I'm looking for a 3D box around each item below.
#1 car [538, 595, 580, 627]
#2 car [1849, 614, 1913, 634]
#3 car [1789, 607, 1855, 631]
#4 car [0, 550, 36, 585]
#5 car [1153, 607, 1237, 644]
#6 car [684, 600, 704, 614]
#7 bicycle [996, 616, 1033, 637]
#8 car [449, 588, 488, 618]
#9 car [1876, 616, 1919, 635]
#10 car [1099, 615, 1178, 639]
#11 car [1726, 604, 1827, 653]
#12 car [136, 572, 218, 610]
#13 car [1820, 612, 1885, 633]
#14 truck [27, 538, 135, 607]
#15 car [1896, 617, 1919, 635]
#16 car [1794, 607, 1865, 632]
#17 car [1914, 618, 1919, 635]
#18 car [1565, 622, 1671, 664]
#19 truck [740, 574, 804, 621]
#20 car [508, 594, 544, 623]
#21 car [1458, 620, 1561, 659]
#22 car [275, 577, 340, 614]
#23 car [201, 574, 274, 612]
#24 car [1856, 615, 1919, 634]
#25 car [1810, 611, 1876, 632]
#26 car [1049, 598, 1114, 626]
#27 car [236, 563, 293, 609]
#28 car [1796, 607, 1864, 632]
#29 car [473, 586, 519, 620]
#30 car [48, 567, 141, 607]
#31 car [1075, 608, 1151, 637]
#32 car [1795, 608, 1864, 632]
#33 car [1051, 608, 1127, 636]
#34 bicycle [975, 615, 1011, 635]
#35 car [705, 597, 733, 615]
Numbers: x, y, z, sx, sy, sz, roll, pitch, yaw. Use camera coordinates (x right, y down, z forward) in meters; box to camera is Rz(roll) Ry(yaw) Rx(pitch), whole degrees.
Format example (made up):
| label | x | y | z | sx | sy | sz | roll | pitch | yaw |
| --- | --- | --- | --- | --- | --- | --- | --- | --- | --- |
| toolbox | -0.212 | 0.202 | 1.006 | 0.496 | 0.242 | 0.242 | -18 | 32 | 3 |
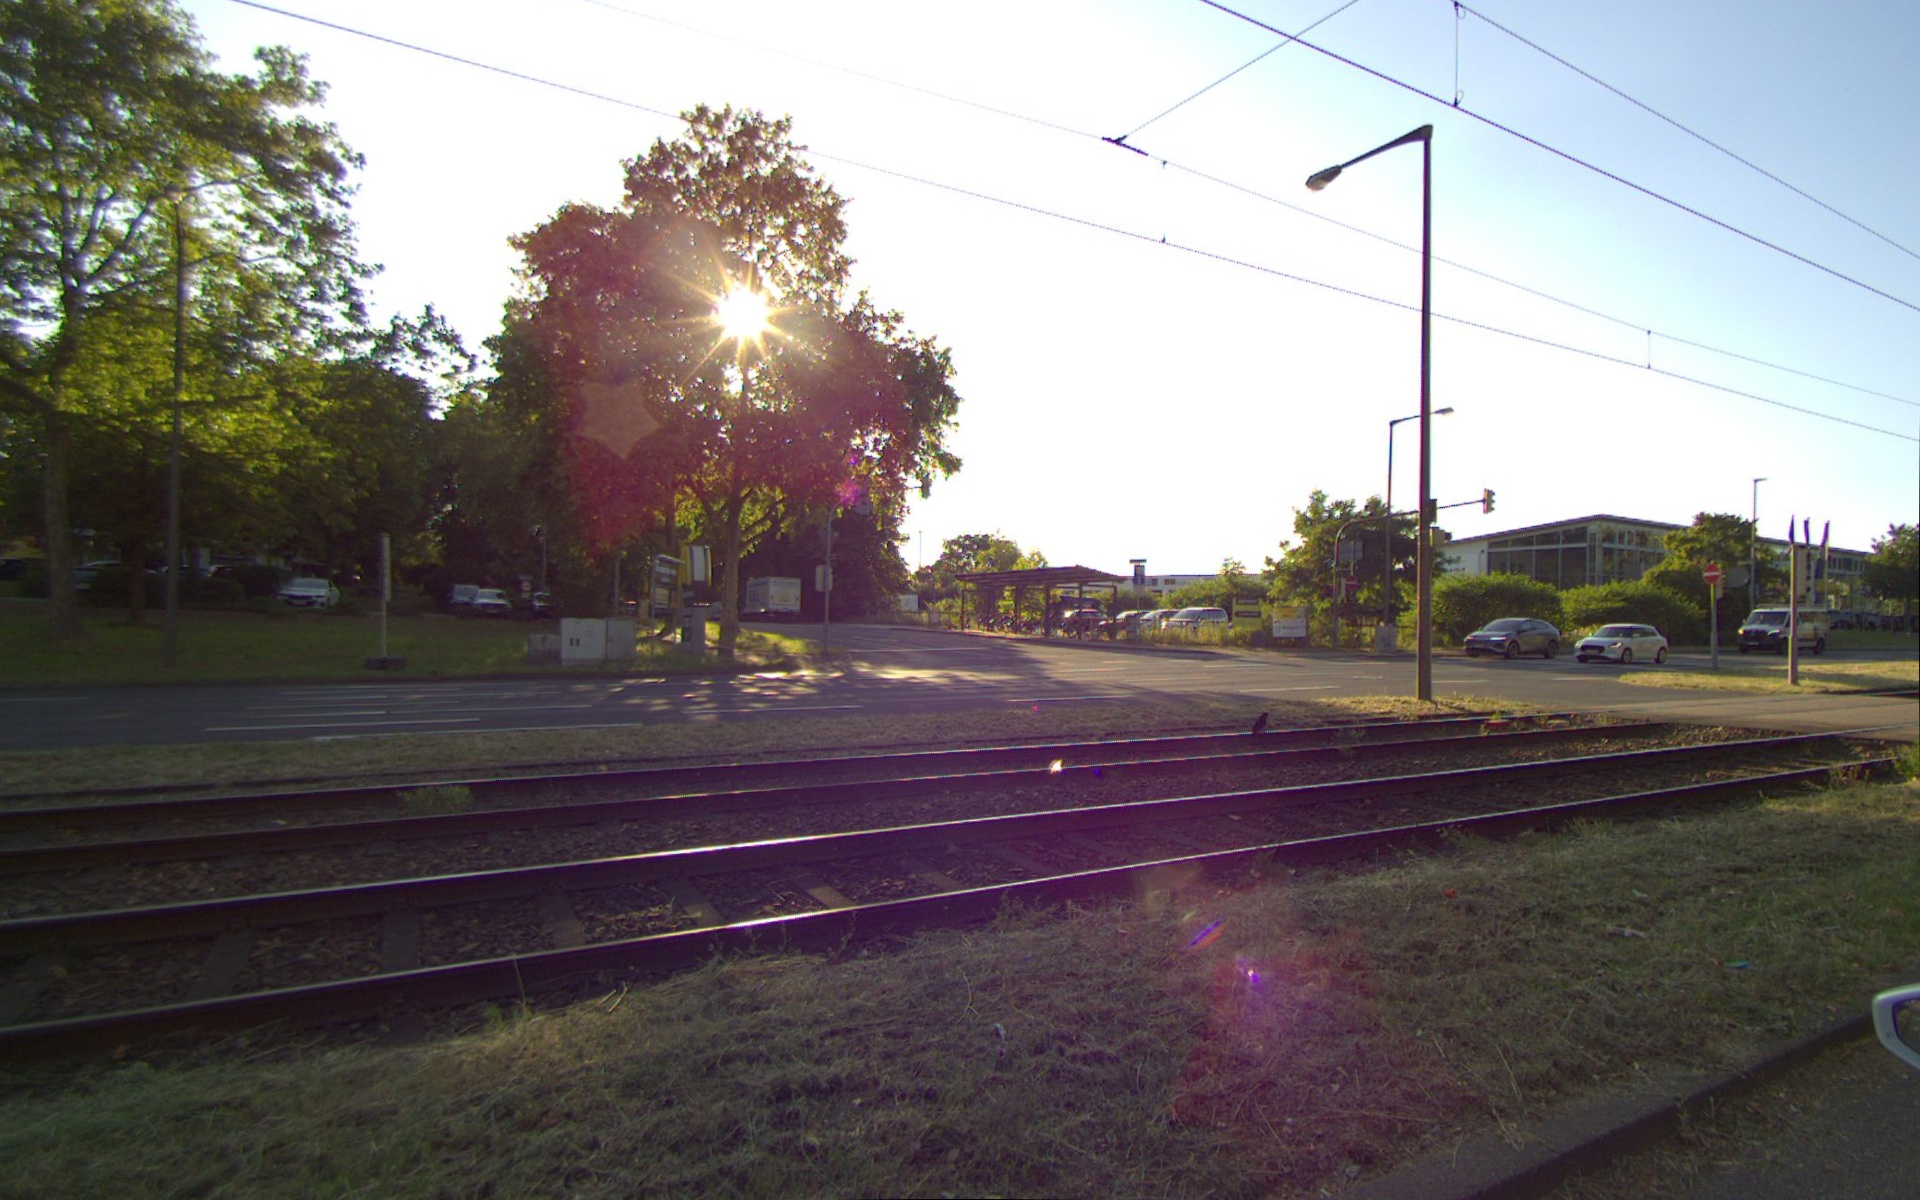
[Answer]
| label | x | y | z | sx | sy | sz | roll | pitch | yaw |
| --- | --- | --- | --- | --- | --- | --- | --- | --- | --- |
| car | -20.444 | 0.532 | 51.136 | 1.604 | 1.477 | 3.878 | 2 | 0 | -27 |
| car | 79.611 | 2.066 | 86.886 | 3.940 | 1.577 | 1.735 | 1 | 0 | 40 |
| car | 69.322 | 1.510 | 80.822 | 3.940 | 1.840 | 1.735 | 1 | 0 | 40 |
| car | -53.864 | -1.868 | 56.381 | 2.274 | 1.875 | 5.220 | 2 | 0 | -36 |
| car | 12.358 | 1.330 | 52.732 | 4.123 | 1.846 | 1.853 | 1 | 0 | -30 |
| car | -33.236 | 0.862 | 125.365 | 1.887 | 1.602 | 4.036 | 2 | 0 | -21 |
| bicycle | 3.065 | 1.480 | 56.410 | 2.004 | 1.119 | 0.777 | 2 | 0 | -30 |
| car | -28.577 | 0.137 | 58.493 | 1.836 | 1.637 | 4.036 | 2 | 0 | -23 |
| car | 84.909 | 2.276 | 89.996 | 1.726 | 1.576 | 3.960 | 1 | 0 | -35 |
| car | 9.935 | 1.491 | 55.864 | 4.123 | 1.284 | 1.853 | 1 | 0 | -30 |
| car | 43.937 | 1.522 | 54.042 | 5.778 | 2.494 | 2.087 | 1 | 0 | -28 |
| car | -33.961 | -0.383 | 43.682 | 1.916 | 1.530 | 4.071 | 2 | 0 | -26 |
| car | 74.205 | 1.844 | 83.605 | 3.940 | 1.577 | 1.735 | 1 | 0 | 40 |
| truck | -44.518 | -1.329 | 51.064 | 2.468 | 3.209 | 6.187 | 2 | 0 | -26 |
| car | 88.379 | 2.386 | 91.736 | 1.725 | 1.642 | 3.962 | 1 | 0 | -34 |
| car | 65.176 | 1.444 | 75.365 | 3.940 | 1.727 | 1.735 | 1 | 0 | 40 |
| car | 91.295 | 2.503 | 93.015 | 1.725 | 1.642 | 3.962 | 1 | 0 | -34 |
| car | 25.524 | 1.629 | 38.933 | 4.043 | 1.501 | 1.853 | 1 | 0 | -30 |
| truck | -15.040 | -0.224 | 79.793 | 2.782 | 3.520 | 8.291 | 1 | 0 | -27 |
| car | -26.221 | 0.514 | 60.719 | 1.836 | 1.637 | 4.036 | 2 | 0 | -23 |
| car | 23.095 | 1.640 | 42.211 | 4.120 | 1.501 | 1.854 | 1 | 0 | -29 |
| car | -29.438 | -0.209 | 45.436 | 1.916 | 1.530 | 4.071 | 2 | 0 | -26 |
| car | -32.119 | -0.310 | 44.755 | 1.916 | 1.530 | 4.071 | 2 | 0 | -26 |
| car | 81.763 | 2.154 | 88.504 | 1.728 | 1.576 | 3.957 | 1 | 0 | -37 |
| car | 71.986 | 1.748 | 81.938 | 3.940 | 1.577 | 1.735 | 1 | 0 | 40 |
| car | 9.284 | 0.940 | 76.661 | 4.715 | 2.041 | 1.853 | 1 | 0 | -30 |
| car | -37.301 | -0.739 | 54.006 | 2.138 | 2.334 | 4.370 | 2 | 0 | -31 |
| car | 68.360 | 1.492 | 78.977 | 3.940 | 1.840 | 1.735 | 1 | 0 | 40 |
| car | -22.940 | 0.120 | 49.586 | 1.916 | 1.530 | 4.071 | 2 | 0 | -26 |
| car | -36.093 | -0.545 | 42.019 | 1.916 | 1.530 | 4.071 | 2 | 0 | -26 |
| car | 8.816 | 1.288 | 57.796 | 4.123 | 1.604 | 1.853 | 1 | 0 | -30 |
| car | 66.722 | 1.494 | 77.165 | 3.940 | 1.727 | 1.735 | 1 | 0 | 40 |
| car | 7.712 | 1.295 | 59.990 | 4.123 | 1.604 | 1.968 | 1 | 0 | -30 |
| bicycle | 1.924 | 1.457 | 59.046 | 2.004 | 1.119 | 0.777 | 2 | 0 | -30 |
| car | -22.799 | 0.557 | 95.035 | 1.711 | 1.603 | 4.028 | 1 | 0 | -27 |
